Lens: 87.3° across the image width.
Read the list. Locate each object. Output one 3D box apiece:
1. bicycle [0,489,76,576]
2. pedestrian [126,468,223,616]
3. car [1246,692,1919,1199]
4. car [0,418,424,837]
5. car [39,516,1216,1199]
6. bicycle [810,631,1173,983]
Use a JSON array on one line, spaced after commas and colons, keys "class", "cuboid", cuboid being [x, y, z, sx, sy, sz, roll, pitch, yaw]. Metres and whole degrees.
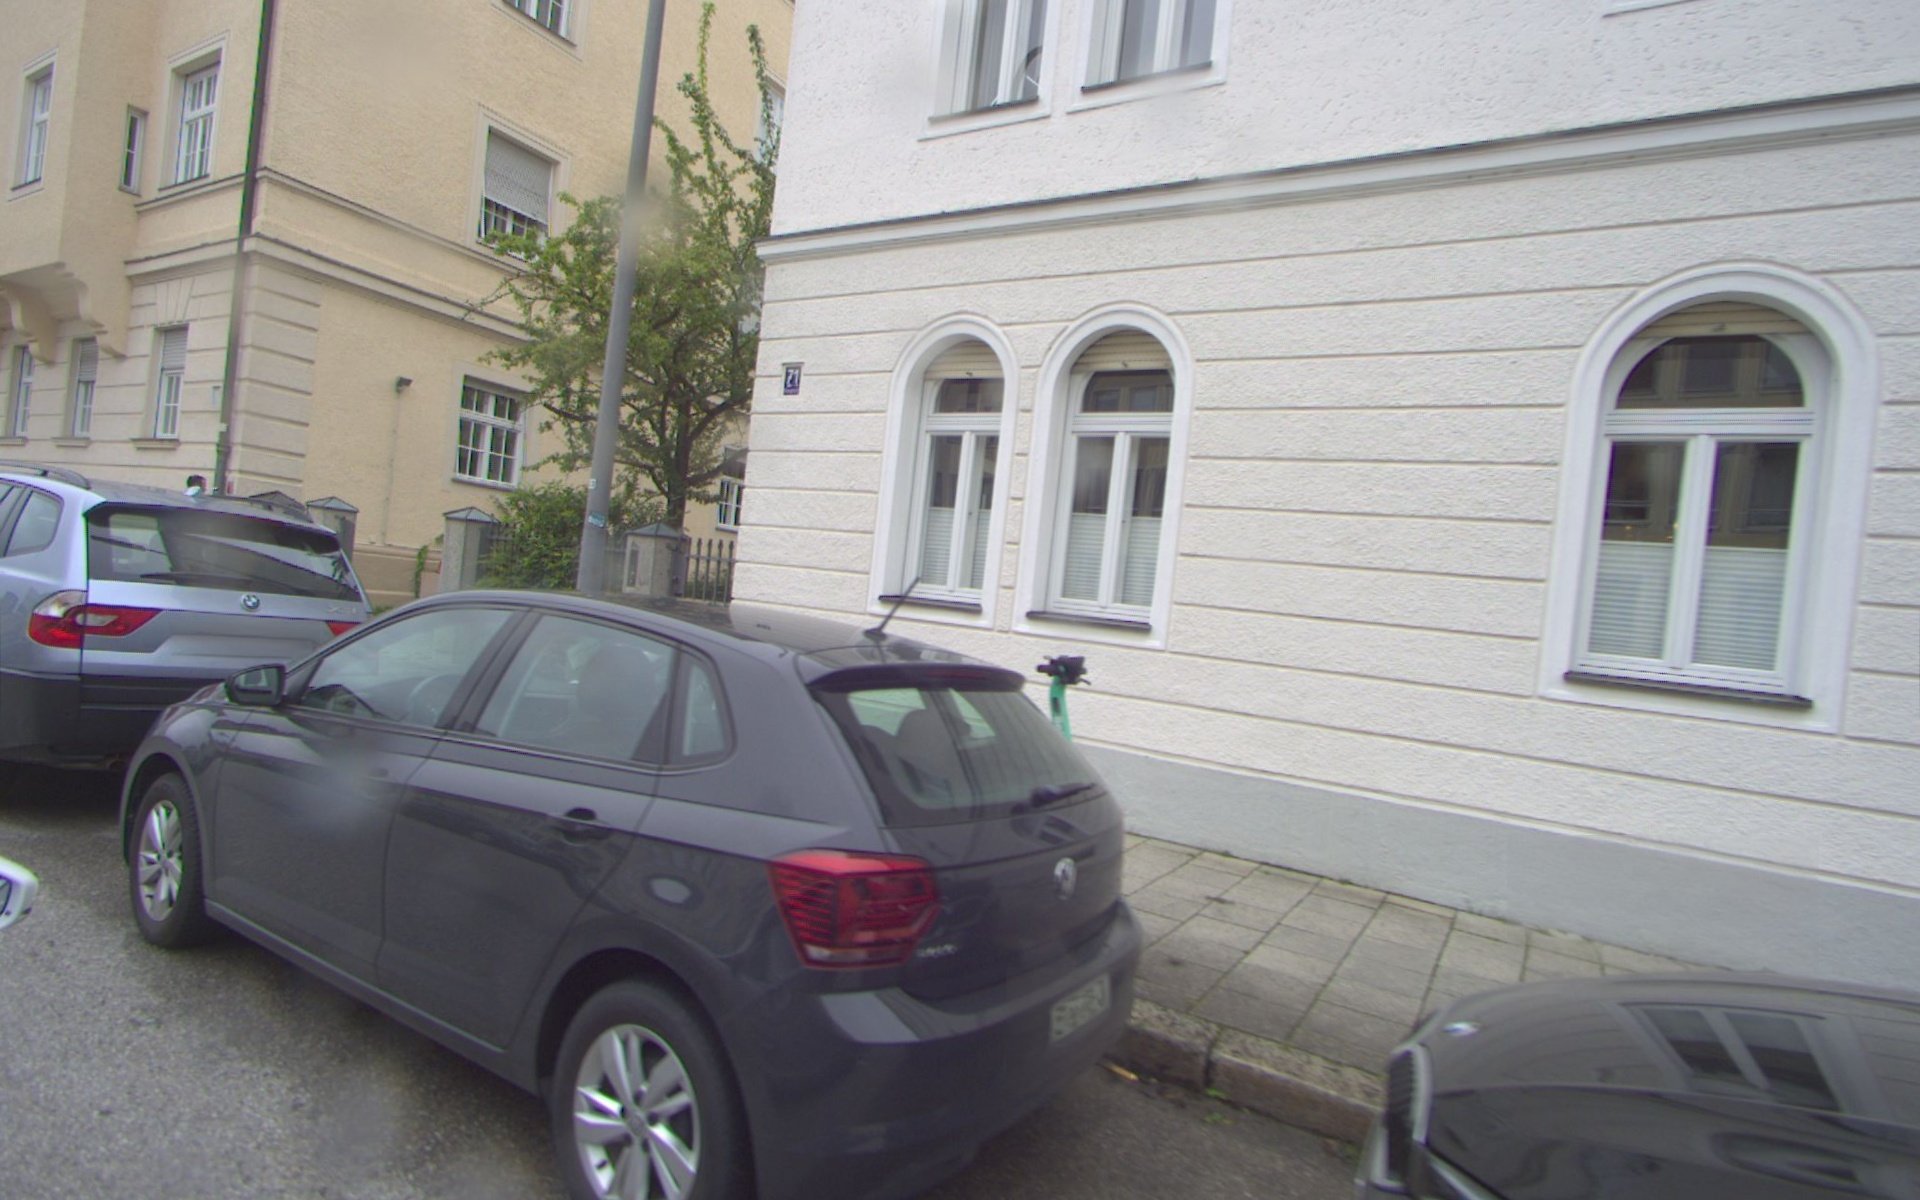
[{"class": "bicycle", "cuboid": [-15.475, -1.146, 16.453, 2.600, 1.262, 0.702, 6, 0, 31]}, {"class": "pedestrian", "cuboid": [-10.129, -0.726, 12.999, 0.677, 1.781, 0.689, 8, -1, -27]}, {"class": "car", "cuboid": [2.730, 1.124, 1.005, 4.453, 1.430, 1.802, 6, -2, 31]}, {"class": "car", "cuboid": [-5.403, 0.028, 6.043, 4.317, 1.750, 1.781, 6, -2, 32]}, {"class": "car", "cuboid": [-1.370, 0.656, 3.588, 3.989, 1.458, 1.707, 6, -2, 32]}, {"class": "bicycle", "cuboid": [0.099, 0.805, 4.379, 1.448, 1.193, 0.480, 6, 2, 32]}]
